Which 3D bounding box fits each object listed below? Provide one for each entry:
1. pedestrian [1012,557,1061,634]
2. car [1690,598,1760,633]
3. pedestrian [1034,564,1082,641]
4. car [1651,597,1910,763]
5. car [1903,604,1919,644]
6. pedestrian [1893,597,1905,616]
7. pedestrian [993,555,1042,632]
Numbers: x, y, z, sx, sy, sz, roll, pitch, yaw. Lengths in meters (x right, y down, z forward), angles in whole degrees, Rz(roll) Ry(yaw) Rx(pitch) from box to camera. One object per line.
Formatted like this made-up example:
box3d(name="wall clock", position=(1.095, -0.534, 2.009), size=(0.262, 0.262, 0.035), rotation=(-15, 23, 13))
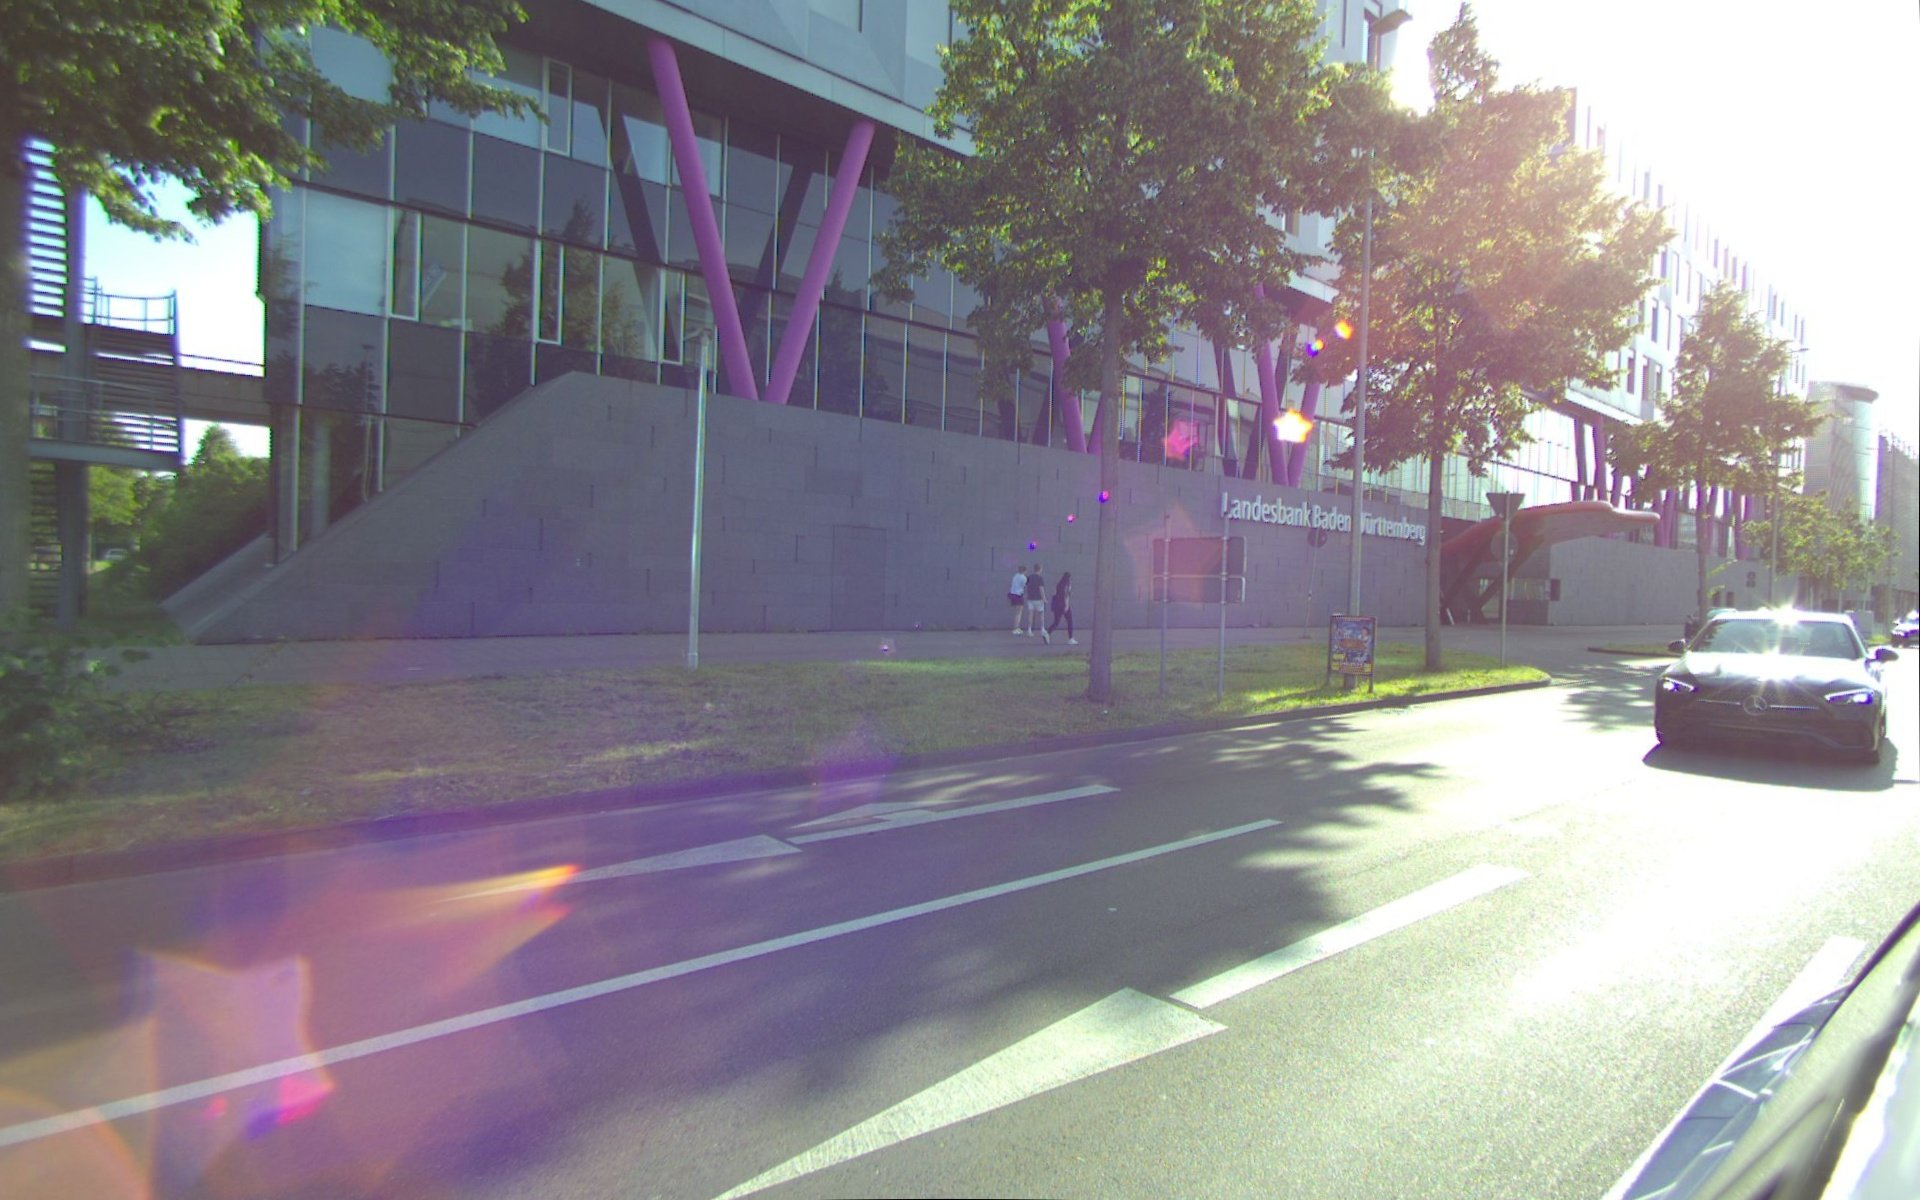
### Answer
box3d(name="pedestrian", position=(1.880, -0.112, 24.827), size=(0.829, 1.815, 0.756), rotation=(1, 3, -41))
box3d(name="car", position=(33.938, 0.701, 44.864), size=(4.126, 1.407, 1.694), rotation=(1, 1, -42))
box3d(name="pedestrian", position=(2.188, 0.054, 22.562), size=(0.724, 1.659, 0.695), rotation=(1, 2, -41))
box3d(name="car", position=(9.346, 0.750, 11.377), size=(1.839, 1.468, 4.482), rotation=(1, 0, 45))
box3d(name="car", position=(40.793, 0.986, 42.218), size=(4.399, 1.444, 1.891), rotation=(-2, 3, -44))
box3d(name="pedestrian", position=(90.851, 0.586, 97.890), size=(0.758, 1.808, 0.725), rotation=(1, 1, -41))
box3d(name="pedestrian", position=(1.440, -0.176, 25.274), size=(0.838, 1.847, 0.769), rotation=(1, 3, -41))
